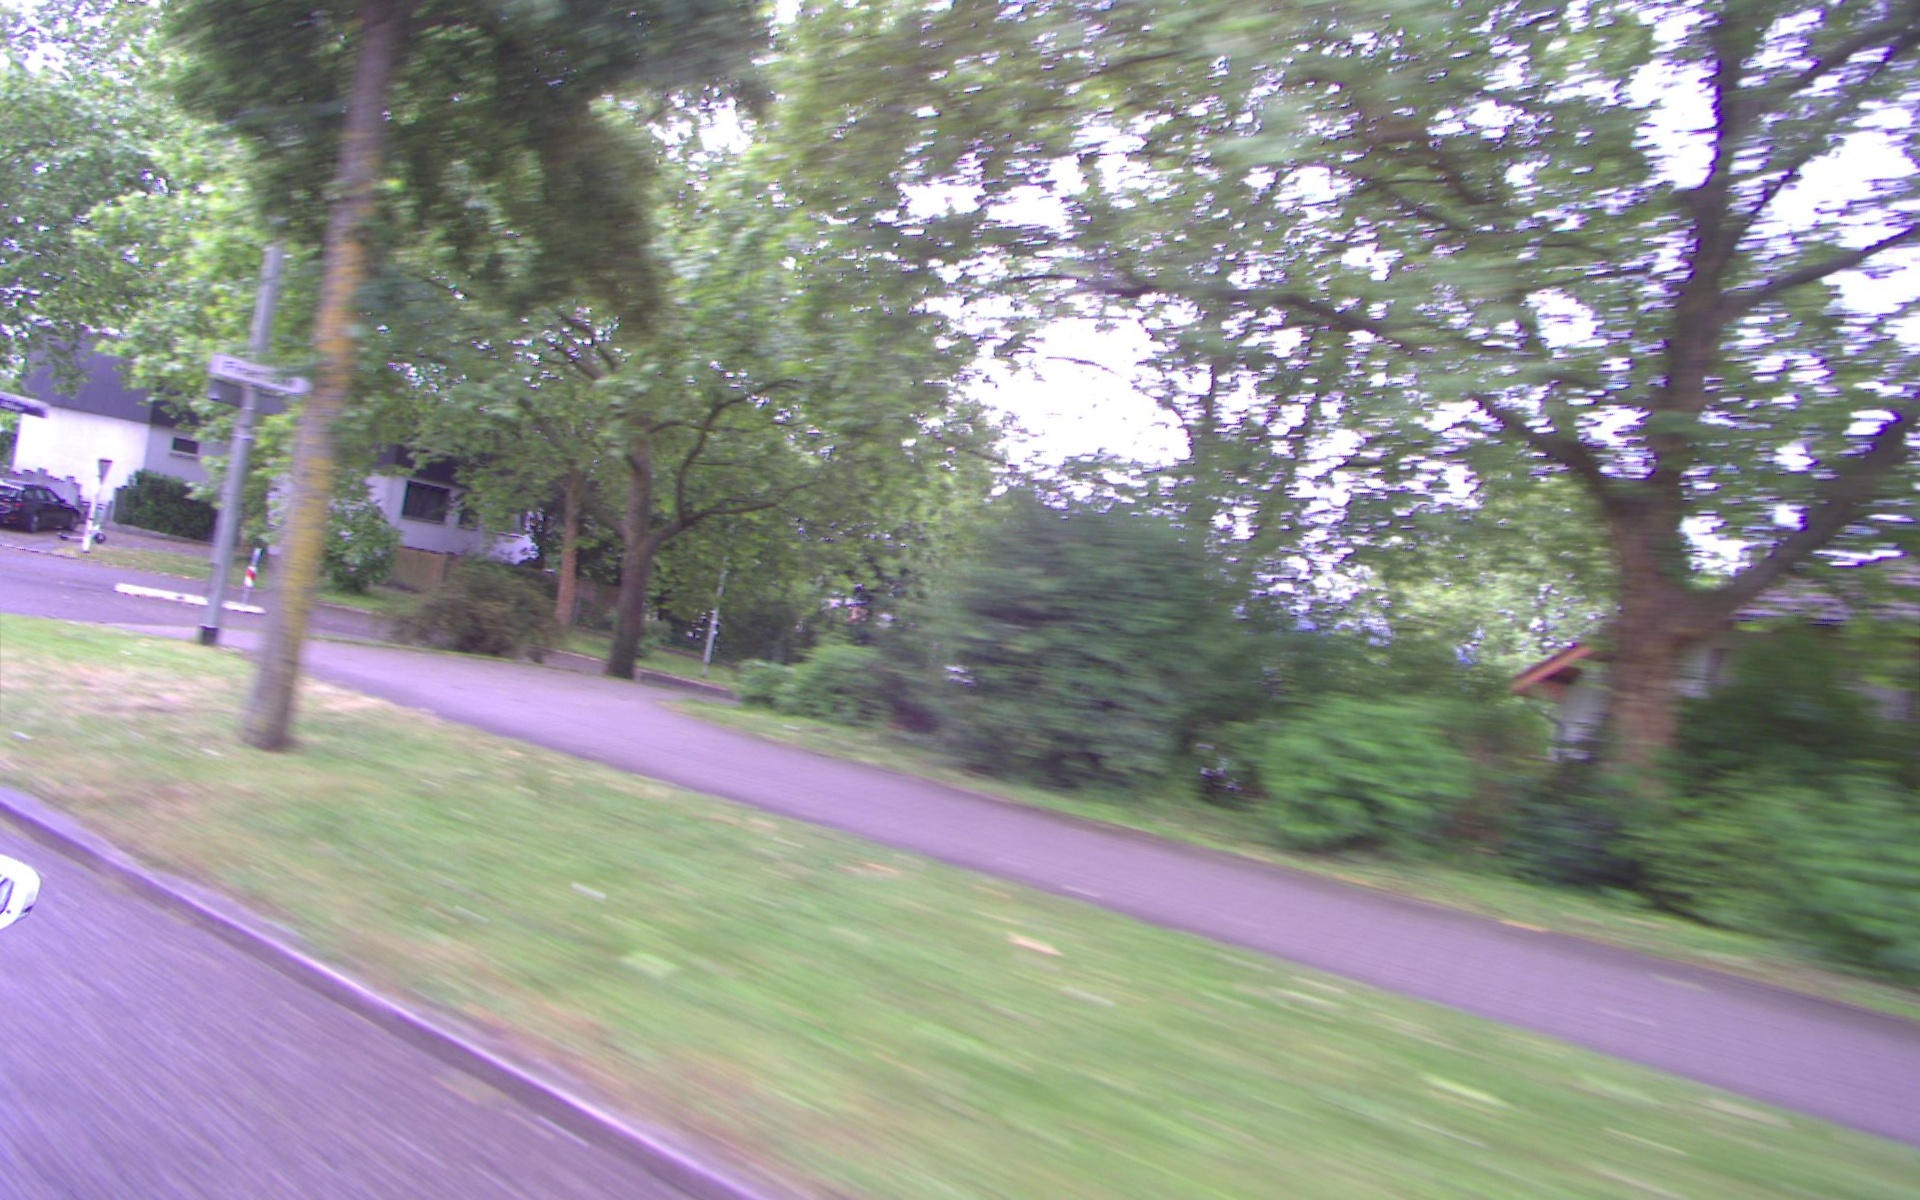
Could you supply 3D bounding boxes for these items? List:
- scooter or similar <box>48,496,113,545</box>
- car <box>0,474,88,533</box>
[{"bbox_3d":[-27.733,-2.506,31.731,0.551,1.301,1.339,8,0,24],"label":"scooter or similar"},{"bbox_3d":[-29.958,-3.085,32.048,1.736,1.486,4.538,12,0,-23],"label":"car"}]
